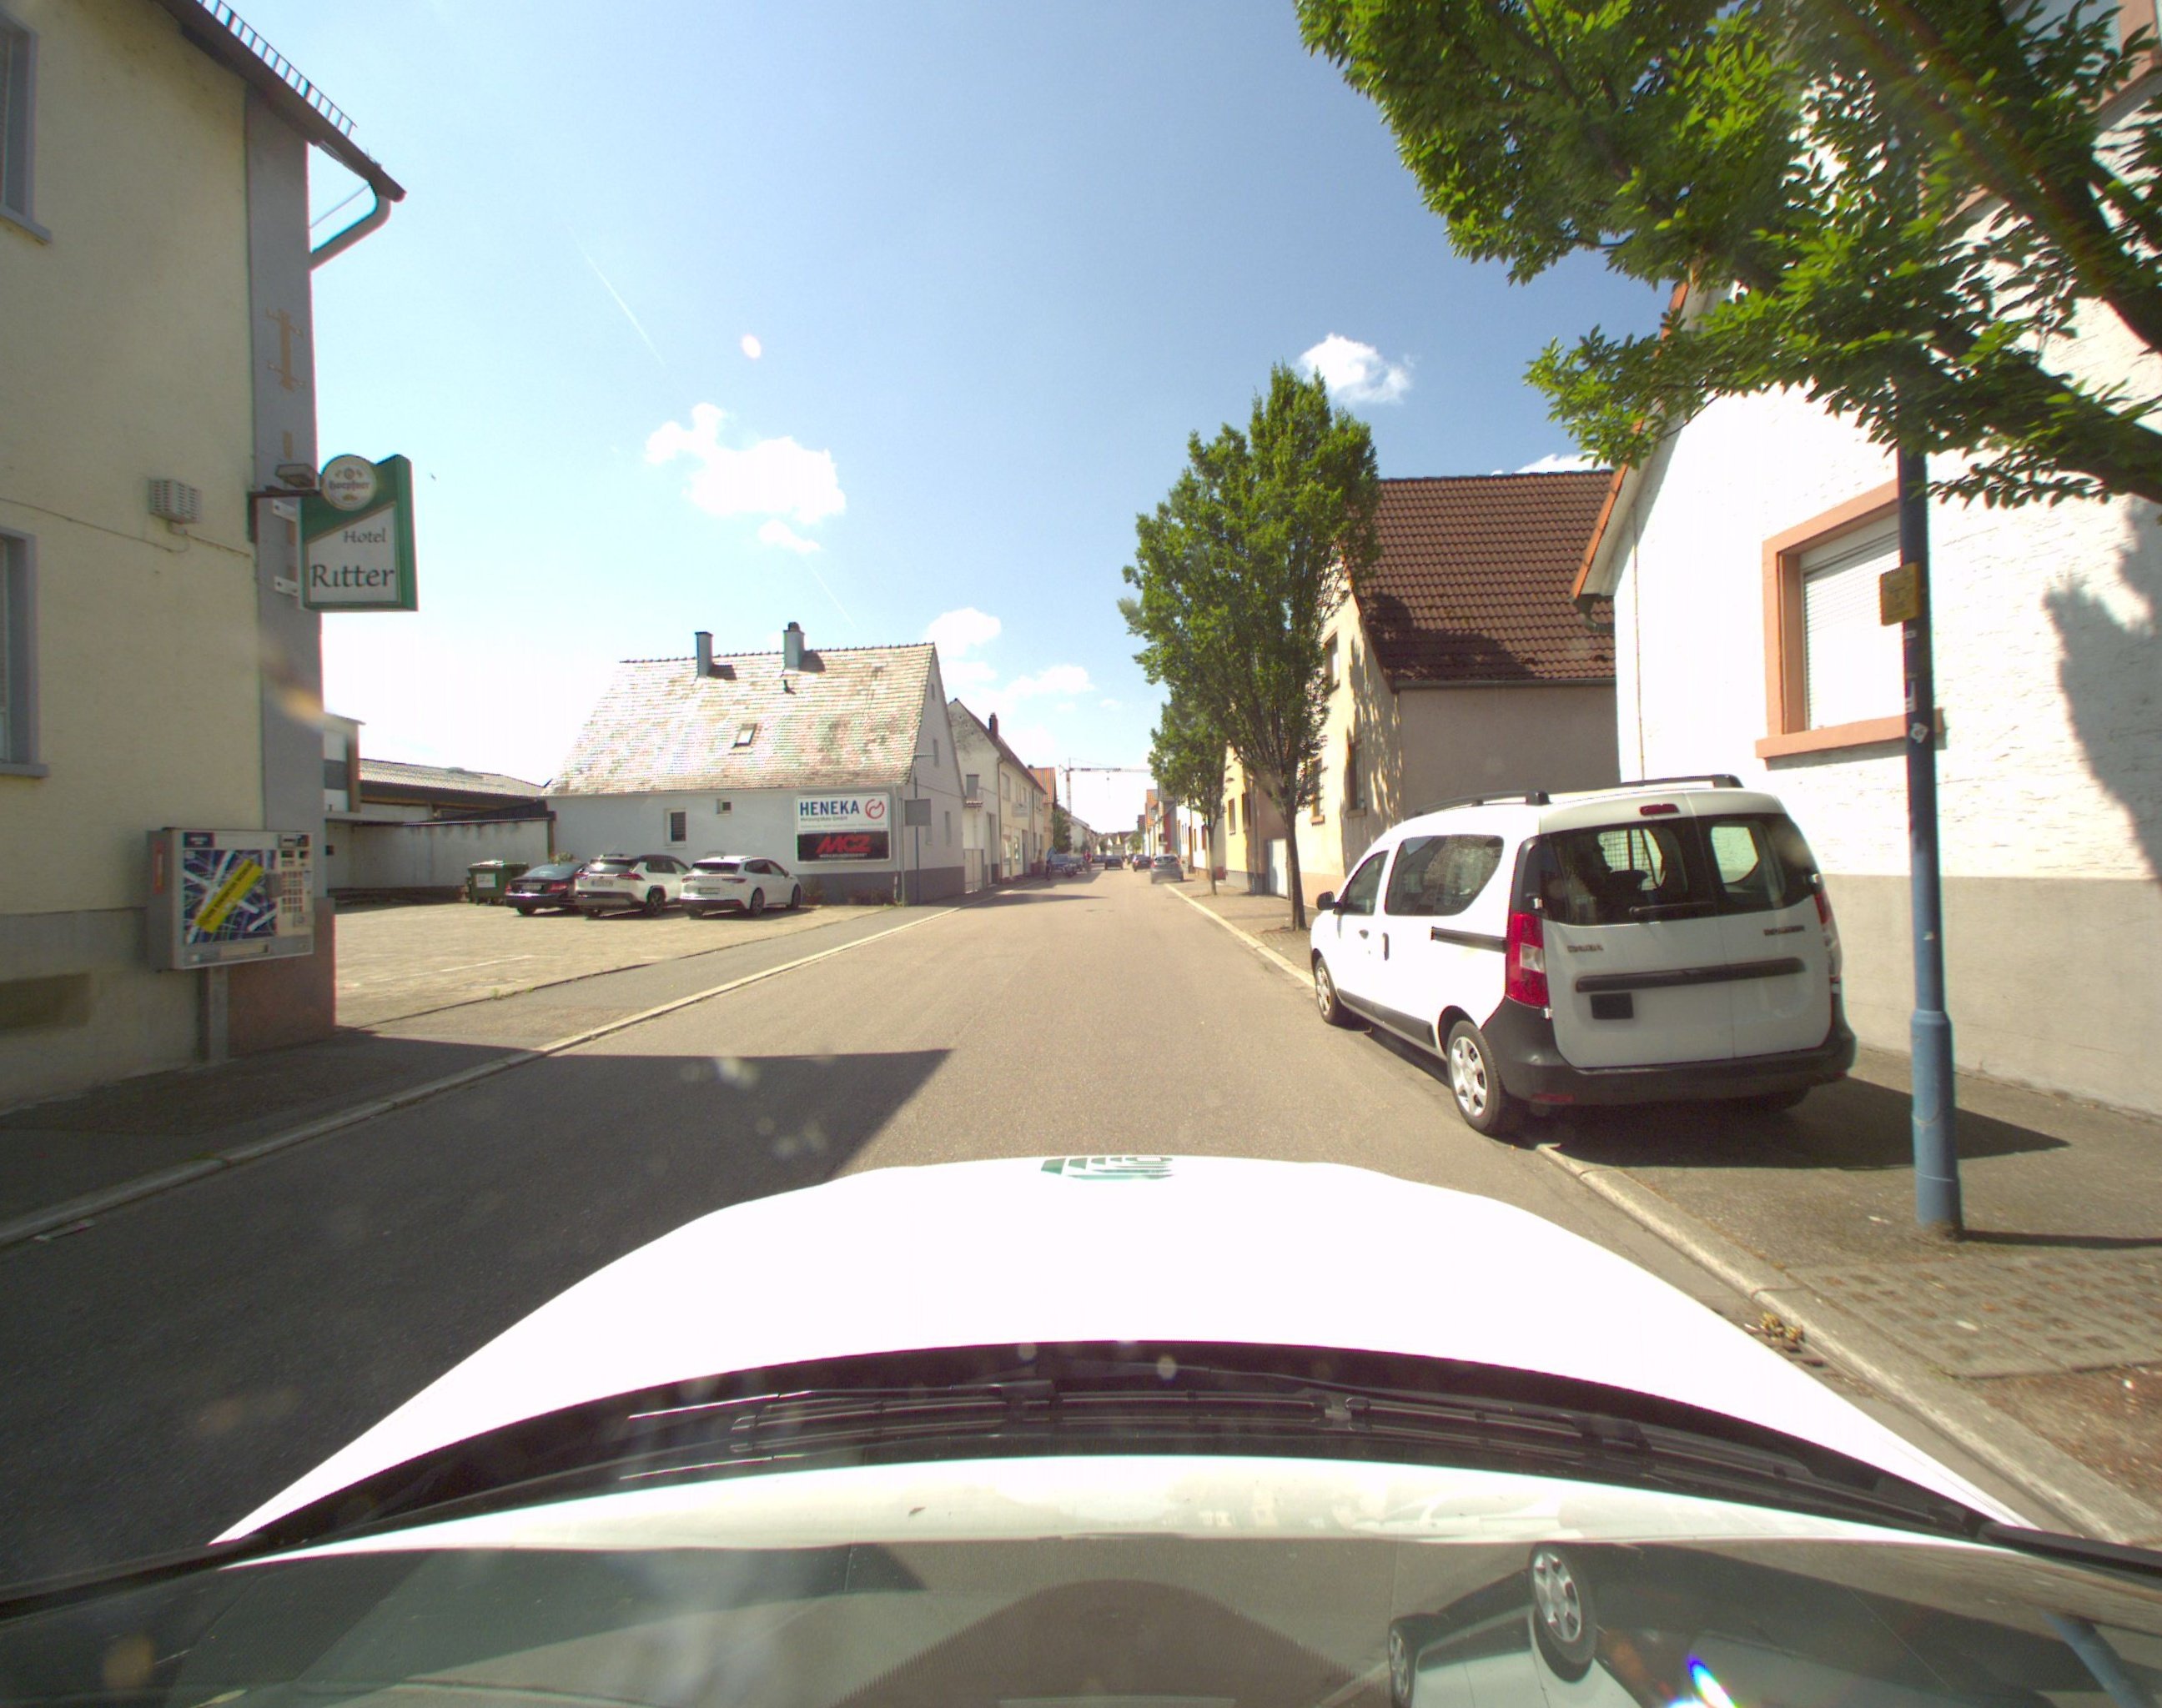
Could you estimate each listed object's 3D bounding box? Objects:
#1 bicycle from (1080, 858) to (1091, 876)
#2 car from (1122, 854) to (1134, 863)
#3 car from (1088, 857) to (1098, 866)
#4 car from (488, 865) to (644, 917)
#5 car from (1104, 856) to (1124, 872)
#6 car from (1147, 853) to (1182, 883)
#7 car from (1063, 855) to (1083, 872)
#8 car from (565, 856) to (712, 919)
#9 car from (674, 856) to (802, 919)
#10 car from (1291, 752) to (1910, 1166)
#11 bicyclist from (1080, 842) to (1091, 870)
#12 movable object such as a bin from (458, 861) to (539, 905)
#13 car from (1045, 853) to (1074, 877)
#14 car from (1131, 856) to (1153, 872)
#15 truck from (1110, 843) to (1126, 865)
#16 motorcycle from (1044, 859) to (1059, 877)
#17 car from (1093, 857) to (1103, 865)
[{"bbox_3d":[0.324,0.944,59.125,0.748,1.308,2.686,0,-1,2],"label":"bicycle"},{"bbox_3d":[6.852,0.642,119.802,1.712,1.268,4.159,-1,0,3],"label":"car"},{"bbox_3d":[2.254,1.330,152.047,1.802,1.589,4.002,-1,0,2],"label":"car"},{"bbox_3d":[-14.461,0.993,23.187,1.713,1.281,4.199,0,0,1],"label":"car"},{"bbox_3d":[3.434,0.977,82.920,1.894,1.563,4.481,-1,0,4],"label":"car"},{"bbox_3d":[4.313,0.683,42.530,1.712,1.461,4.161,-1,0,4],"label":"car"},{"bbox_3d":[-0.741,0.940,81.857,1.802,1.589,4.002,-1,0,2],"label":"car"},{"bbox_3d":[-12.029,0.849,22.507,1.713,1.556,4.199,0,0,1],"label":"car"},{"bbox_3d":[-9.378,0.850,22.670,1.713,1.556,4.199,0,0,1],"label":"car"},{"bbox_3d":[2.898,0.476,5.777,1.713,1.790,4.144,-3,0,1],"label":"car"},{"bbox_3d":[0.329,0.160,59.219,0.737,2.059,0.844,0,-1,1],"label":"bicyclist"},{"bbox_3d":[-18.350,0.894,25.704,1.368,1.324,1.565,-1,0,3],"label":"movable object such as a bin"},{"bbox_3d":[-1.468,0.720,56.922,1.802,1.589,4.002,-1,0,2],"label":"car"},{"bbox_3d":[5.269,0.844,70.770,1.712,1.355,4.159,-1,0,3],"label":"car"},{"bbox_3d":[7.555,0.014,165.882,3.131,4.250,9.311,0,-1,4],"label":"truck"},{"bbox_3d":[-1.926,0.909,53.202,0.843,1.170,2.469,0,-1,1],"label":"motorcycle"},{"bbox_3d":[3.359,1.386,158.627,1.802,1.589,4.002,-1,0,2],"label":"car"}]
